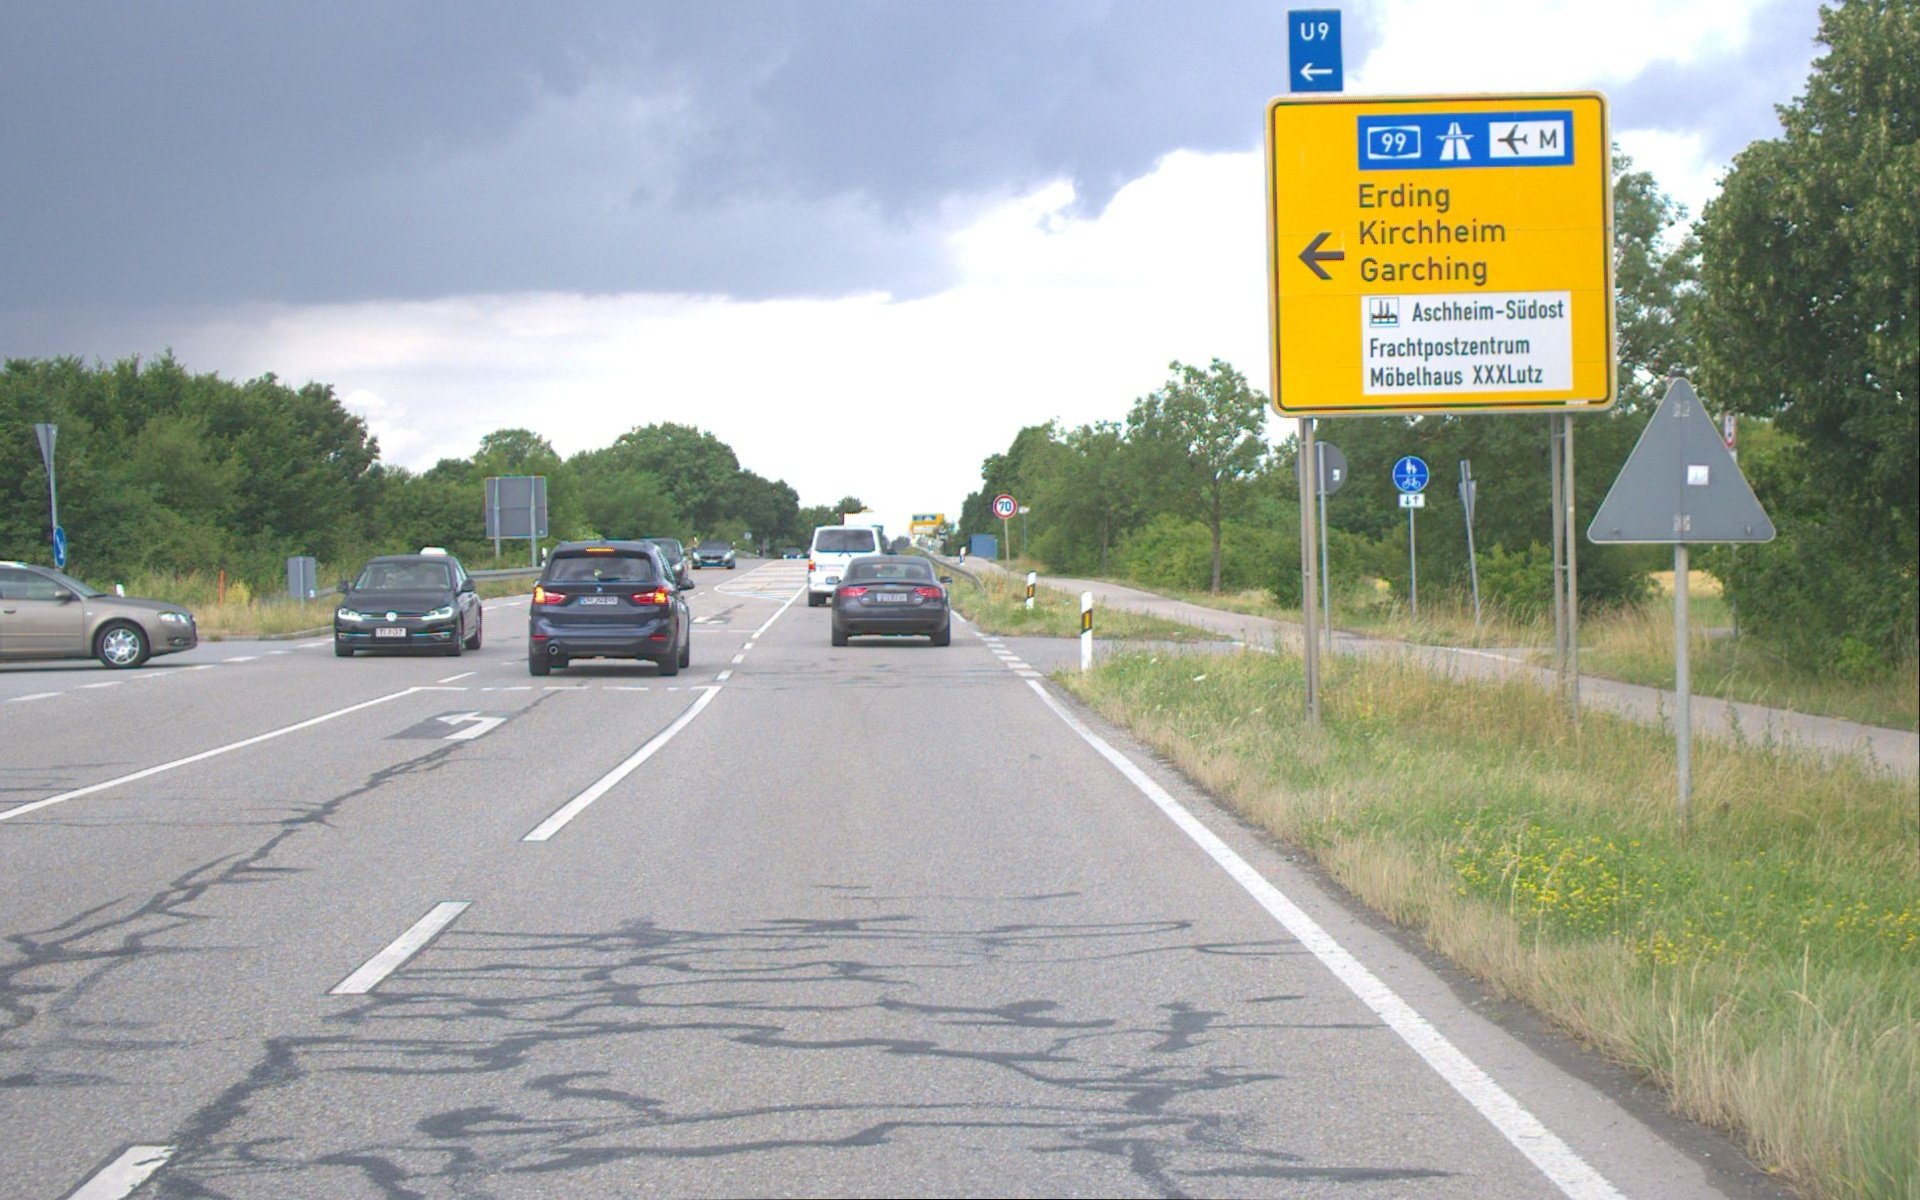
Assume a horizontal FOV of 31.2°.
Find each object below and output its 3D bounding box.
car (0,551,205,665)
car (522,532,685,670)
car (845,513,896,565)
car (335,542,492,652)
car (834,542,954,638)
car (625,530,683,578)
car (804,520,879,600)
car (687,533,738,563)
[{"bbox_3d":[-12.317,0.113,45.405,4.449,1.419,1.911,-1,1,-9],"label":"car"},{"bbox_3d":[-4.370,-0.025,42.702,1.702,1.605,4.483,-1,1,-2],"label":"car"},{"bbox_3d":[-4.391,-3.028,169.827,2.447,2.495,5.042,1,1,-1],"label":"car"},{"bbox_3d":[-7.908,-0.071,50.072,1.679,1.516,4.396,0,1,-1],"label":"car"},{"bbox_3d":[-1.041,-0.177,53.545,1.785,1.419,4.000,1,1,-2],"label":"car"},{"bbox_3d":[-10.341,-1.578,116.325,1.742,1.525,4.199,1,2,-2],"label":"car"},{"bbox_3d":[-2.892,-0.983,84.270,1.785,1.883,4.000,1,1,-2],"label":"car"},{"bbox_3d":[-11.344,-2.392,157.995,2.164,1.280,4.238,2,1,-2],"label":"car"}]
